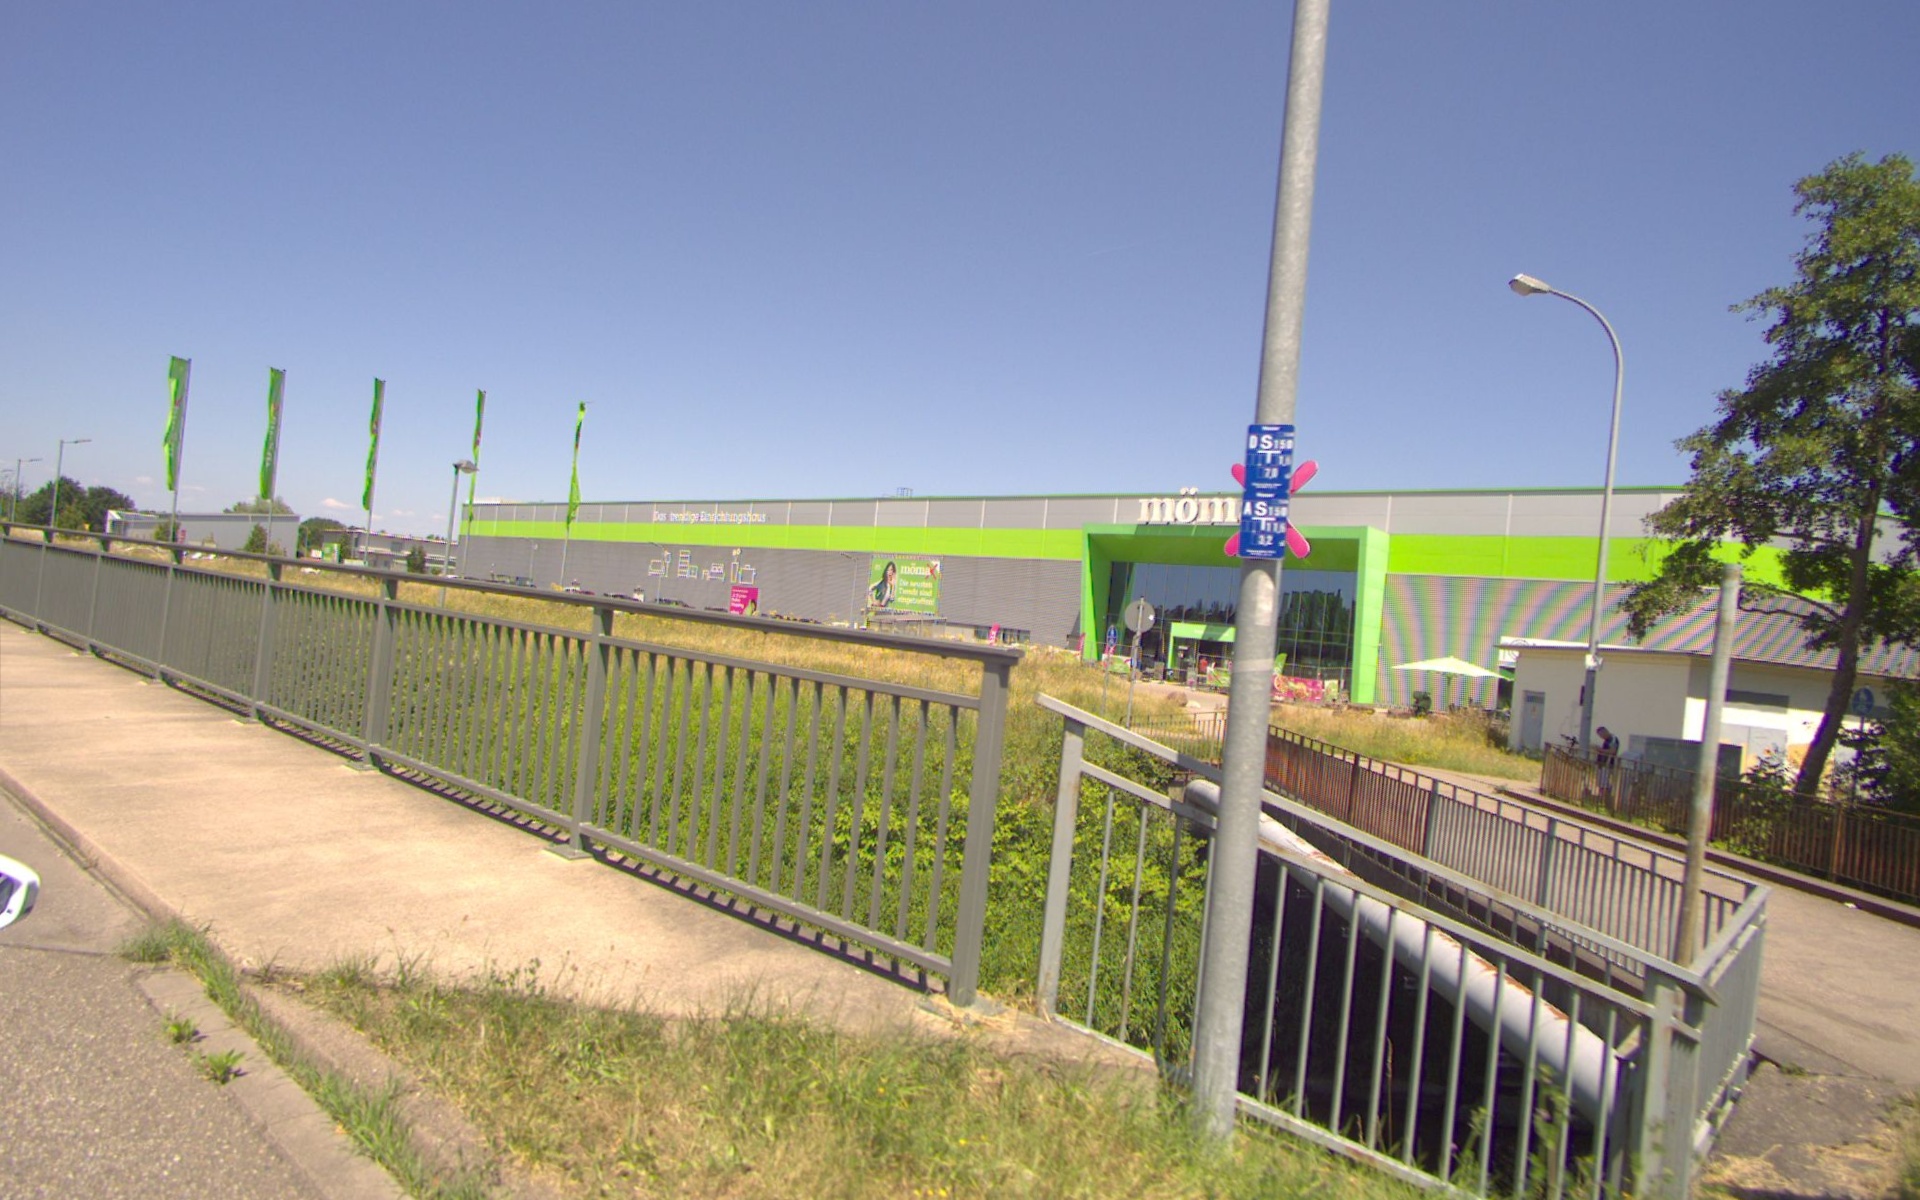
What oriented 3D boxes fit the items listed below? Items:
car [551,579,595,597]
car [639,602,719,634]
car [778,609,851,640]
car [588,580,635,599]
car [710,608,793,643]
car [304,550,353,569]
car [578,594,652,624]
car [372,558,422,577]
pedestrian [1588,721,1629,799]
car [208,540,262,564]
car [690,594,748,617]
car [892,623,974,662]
[{"bbox_3d":[-42.158,-1.346,109.716,1.971,1.537,3.985,4,-2,38],"label":"car"},{"bbox_3d":[-16.272,1.075,58.372,1.922,1.479,3.978,4,-2,43],"label":"car"},{"bbox_3d":[-8.809,1.526,61.018,1.922,1.523,3.978,4,-2,43],"label":"car"},{"bbox_3d":[-35.808,-1.031,103.439,1.971,1.537,3.985,4,-2,38],"label":"car"},{"bbox_3d":[-11.239,1.402,54.474,1.891,1.566,3.978,4,-2,43],"label":"car"},{"bbox_3d":[-67.826,-4.376,108.081,1.973,1.537,3.980,3,-2,42],"label":"car"},{"bbox_3d":[-22.042,0.567,64.320,1.922,1.549,3.978,4,-2,43],"label":"car"},{"bbox_3d":[-57.957,-3.336,103.585,1.970,1.537,3.987,4,-2,36],"label":"car"},{"bbox_3d":[13.733,3.386,21.311,0.406,1.556,0.439,8,0,10],"label":"pedestrian"},{"bbox_3d":[-67.513,-4.465,93.746,1.866,1.589,3.729,5,-2,43],"label":"car"},{"bbox_3d":[-21.074,0.478,88.069,1.971,1.537,4.650,4,-2,38],"label":"car"},{"bbox_3d":[-1.343,2.194,51.539,1.891,1.674,3.978,4,-1,43],"label":"car"}]
